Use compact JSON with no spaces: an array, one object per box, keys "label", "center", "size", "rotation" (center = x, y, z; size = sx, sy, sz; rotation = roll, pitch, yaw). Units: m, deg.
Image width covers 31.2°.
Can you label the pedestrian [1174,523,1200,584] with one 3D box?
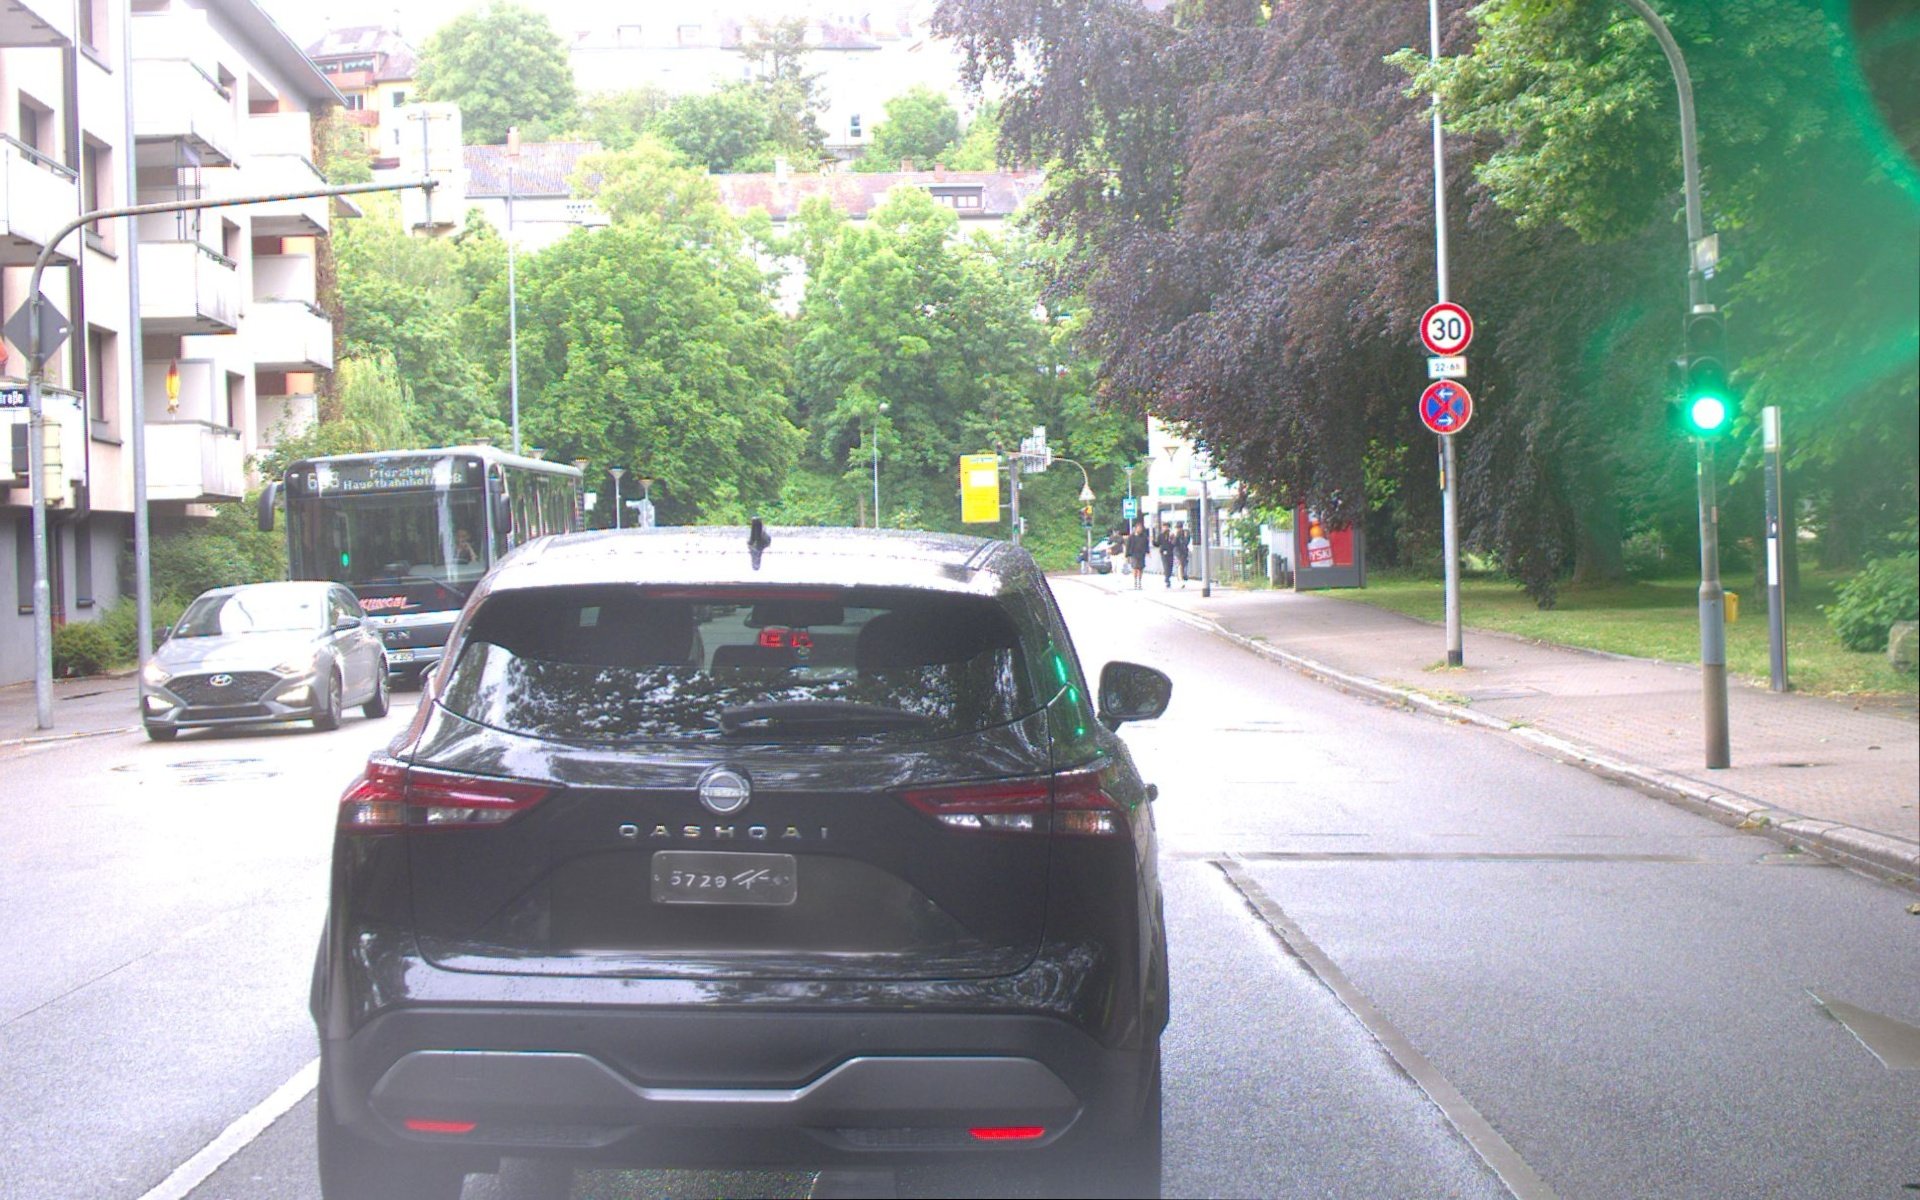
[{"label":"pedestrian","center":[6.656,-1.365,100.863],"size":[0.618,1.773,0.778],"rotation":[-2,1,-1]}]

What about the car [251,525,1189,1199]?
[{"label":"car","center":[-0.490,0.648,8.687],"size":[1.806,1.584,4.000],"rotation":[1,0,-1]}]

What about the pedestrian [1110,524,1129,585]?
[{"label":"pedestrian","center":[4.343,-1.241,93.700],"size":[0.475,1.645,0.490],"rotation":[1,0,0]}]

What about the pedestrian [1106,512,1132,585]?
[{"label":"pedestrian","center":[4.831,-1.564,104.544],"size":[0.768,2.176,0.711],"rotation":[1,0,3]}]

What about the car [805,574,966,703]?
[{"label":"car","center":[-0.905,0.419,40.882],"size":[1.808,1.412,4.031],"rotation":[0,1,-2]}]

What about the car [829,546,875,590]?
[{"label":"car","center":[-4.537,-1.355,144.542],"size":[1.763,1.752,3.635],"rotation":[-2,1,0]}]

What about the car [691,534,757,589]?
[{"label":"car","center":[-7.334,-1.215,106.985],"size":[1.750,1.628,3.635],"rotation":[-2,1,0]}]

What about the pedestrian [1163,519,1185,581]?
[{"label":"pedestrian","center":[5.717,-1.332,91.841],"size":[0.514,1.650,0.550],"rotation":[1,0,-1]}]

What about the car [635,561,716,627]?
[{"label":"car","center":[-6.886,-0.169,83.444],"size":[1.676,1.464,4.217],"rotation":[-3,1,-2]}]

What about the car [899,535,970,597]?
[{"label":"car","center":[-0.611,-0.825,82.962],"size":[1.624,1.410,3.455],"rotation":[-2,1,0]}]

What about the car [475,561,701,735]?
[{"label":"car","center":[-3.312,0.389,31.139],"size":[1.624,1.410,3.455],"rotation":[-2,1,0]}]

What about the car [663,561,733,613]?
[{"label":"car","center":[-7.182,-0.376,94.531],"size":[1.676,1.291,3.752],"rotation":[-3,1,-2]}]

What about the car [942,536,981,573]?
[{"label":"car","center":[0.057,-2.130,159.224],"size":[1.750,1.628,3.635],"rotation":[-2,1,0]}]

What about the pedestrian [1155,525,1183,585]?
[{"label":"pedestrian","center":[5.722,-1.224,93.994],"size":[0.699,1.645,0.628],"rotation":[1,0,0]}]

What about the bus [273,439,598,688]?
[{"label":"bus","center":[-7.011,-0.509,47.826],"size":[2.766,2.964,11.782],"rotation":[-2,1,-1]}]

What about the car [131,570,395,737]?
[{"label":"car","center":[-6.755,0.477,33.714],"size":[1.808,1.412,4.031],"rotation":[-3,1,-2]}]

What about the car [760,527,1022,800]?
[{"label":"car","center":[-0.413,0.380,24.120],"size":[1.622,1.703,3.771],"rotation":[-2,1,1]}]

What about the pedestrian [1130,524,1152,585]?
[{"label":"pedestrian","center":[4.938,-1.234,93.819],"size":[0.544,1.645,0.490],"rotation":[1,0,0]}]
